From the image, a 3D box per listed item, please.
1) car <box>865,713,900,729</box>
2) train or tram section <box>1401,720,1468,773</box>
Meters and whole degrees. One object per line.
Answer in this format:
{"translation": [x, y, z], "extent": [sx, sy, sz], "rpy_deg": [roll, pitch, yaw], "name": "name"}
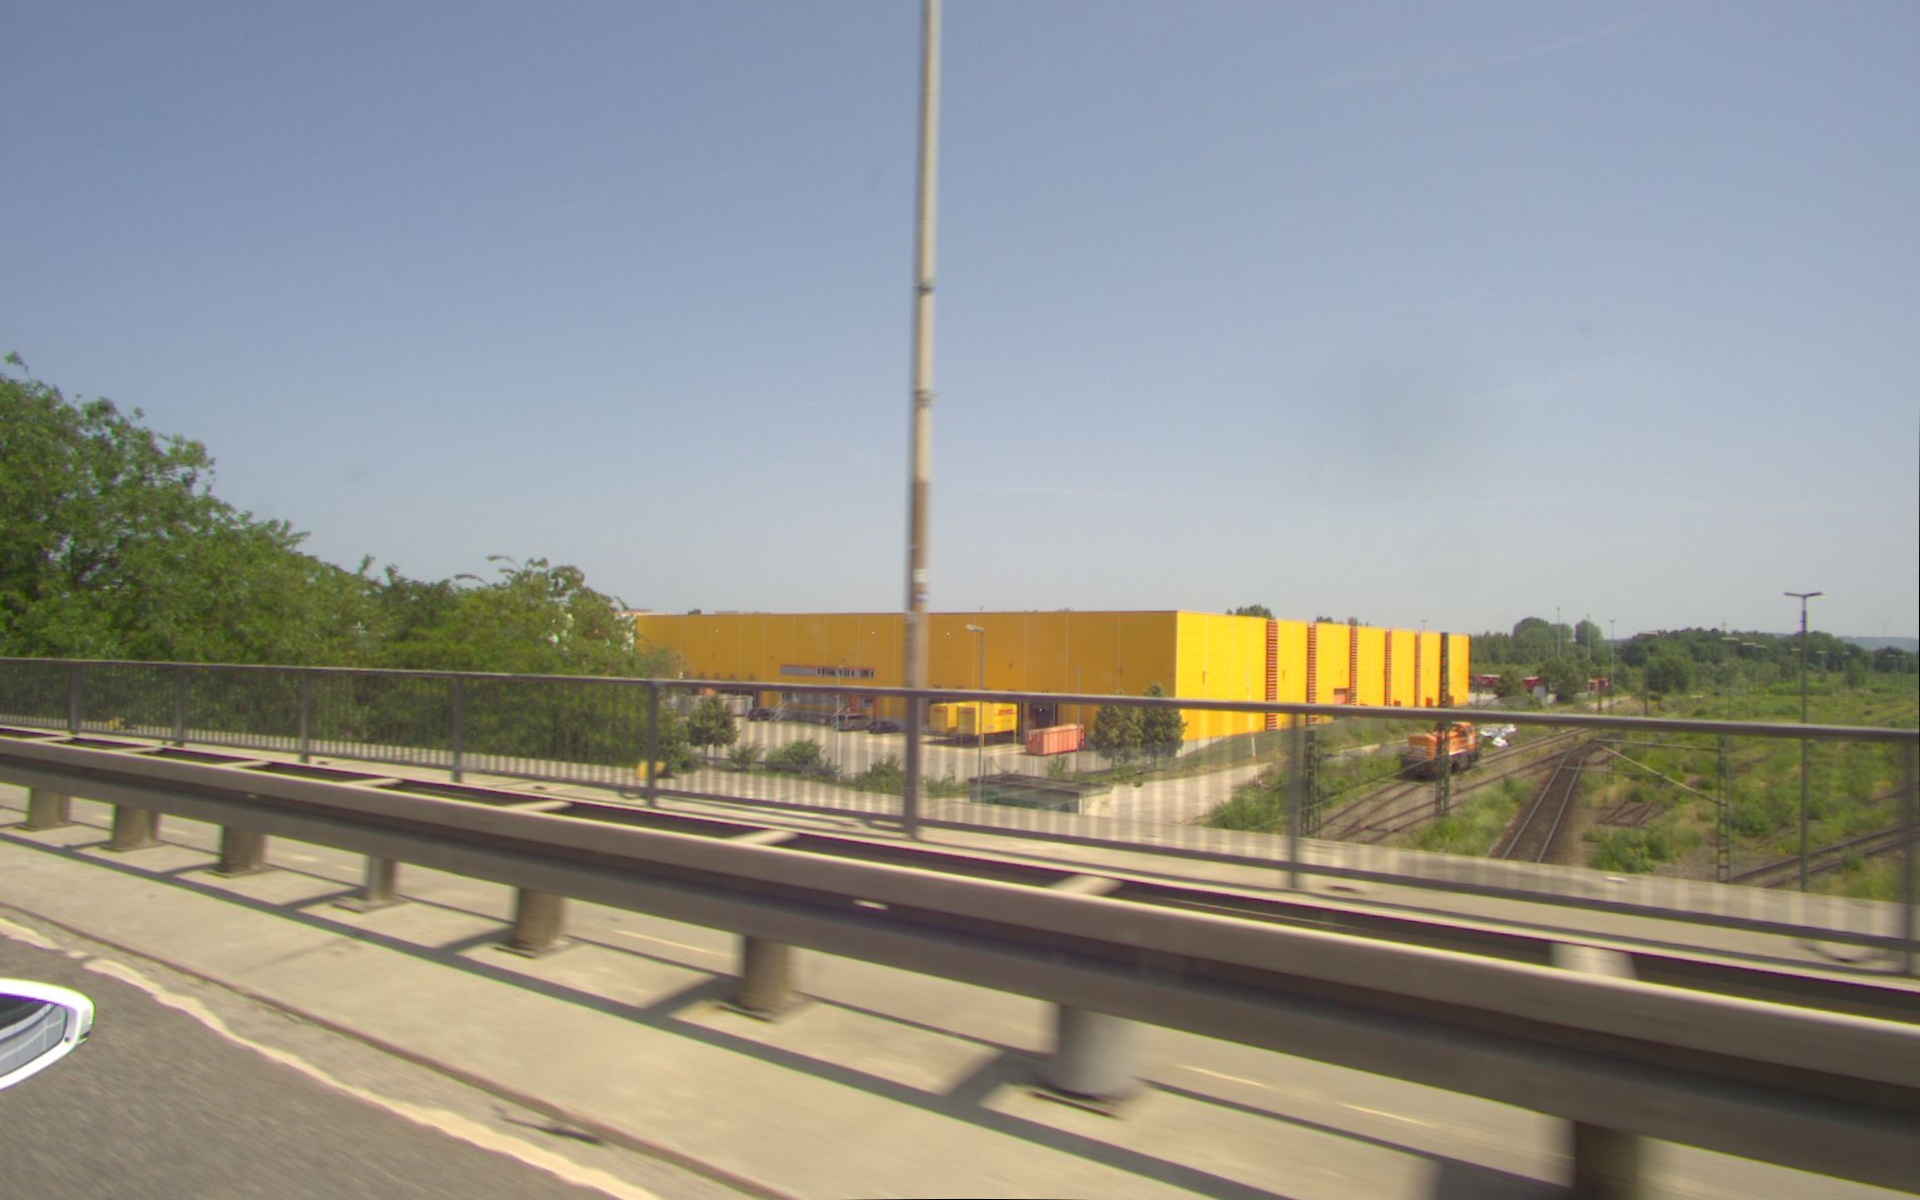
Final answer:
{"translation": [-8.849, 13.763, 114.190], "extent": [1.779, 1.468, 3.816], "rpy_deg": [0, -1, 41], "name": "car"}
{"translation": [40.520, 12.315, 85.191], "extent": [2.211, 3.734, 13.923], "rpy_deg": [0, -4, 38], "name": "train or tram section"}
